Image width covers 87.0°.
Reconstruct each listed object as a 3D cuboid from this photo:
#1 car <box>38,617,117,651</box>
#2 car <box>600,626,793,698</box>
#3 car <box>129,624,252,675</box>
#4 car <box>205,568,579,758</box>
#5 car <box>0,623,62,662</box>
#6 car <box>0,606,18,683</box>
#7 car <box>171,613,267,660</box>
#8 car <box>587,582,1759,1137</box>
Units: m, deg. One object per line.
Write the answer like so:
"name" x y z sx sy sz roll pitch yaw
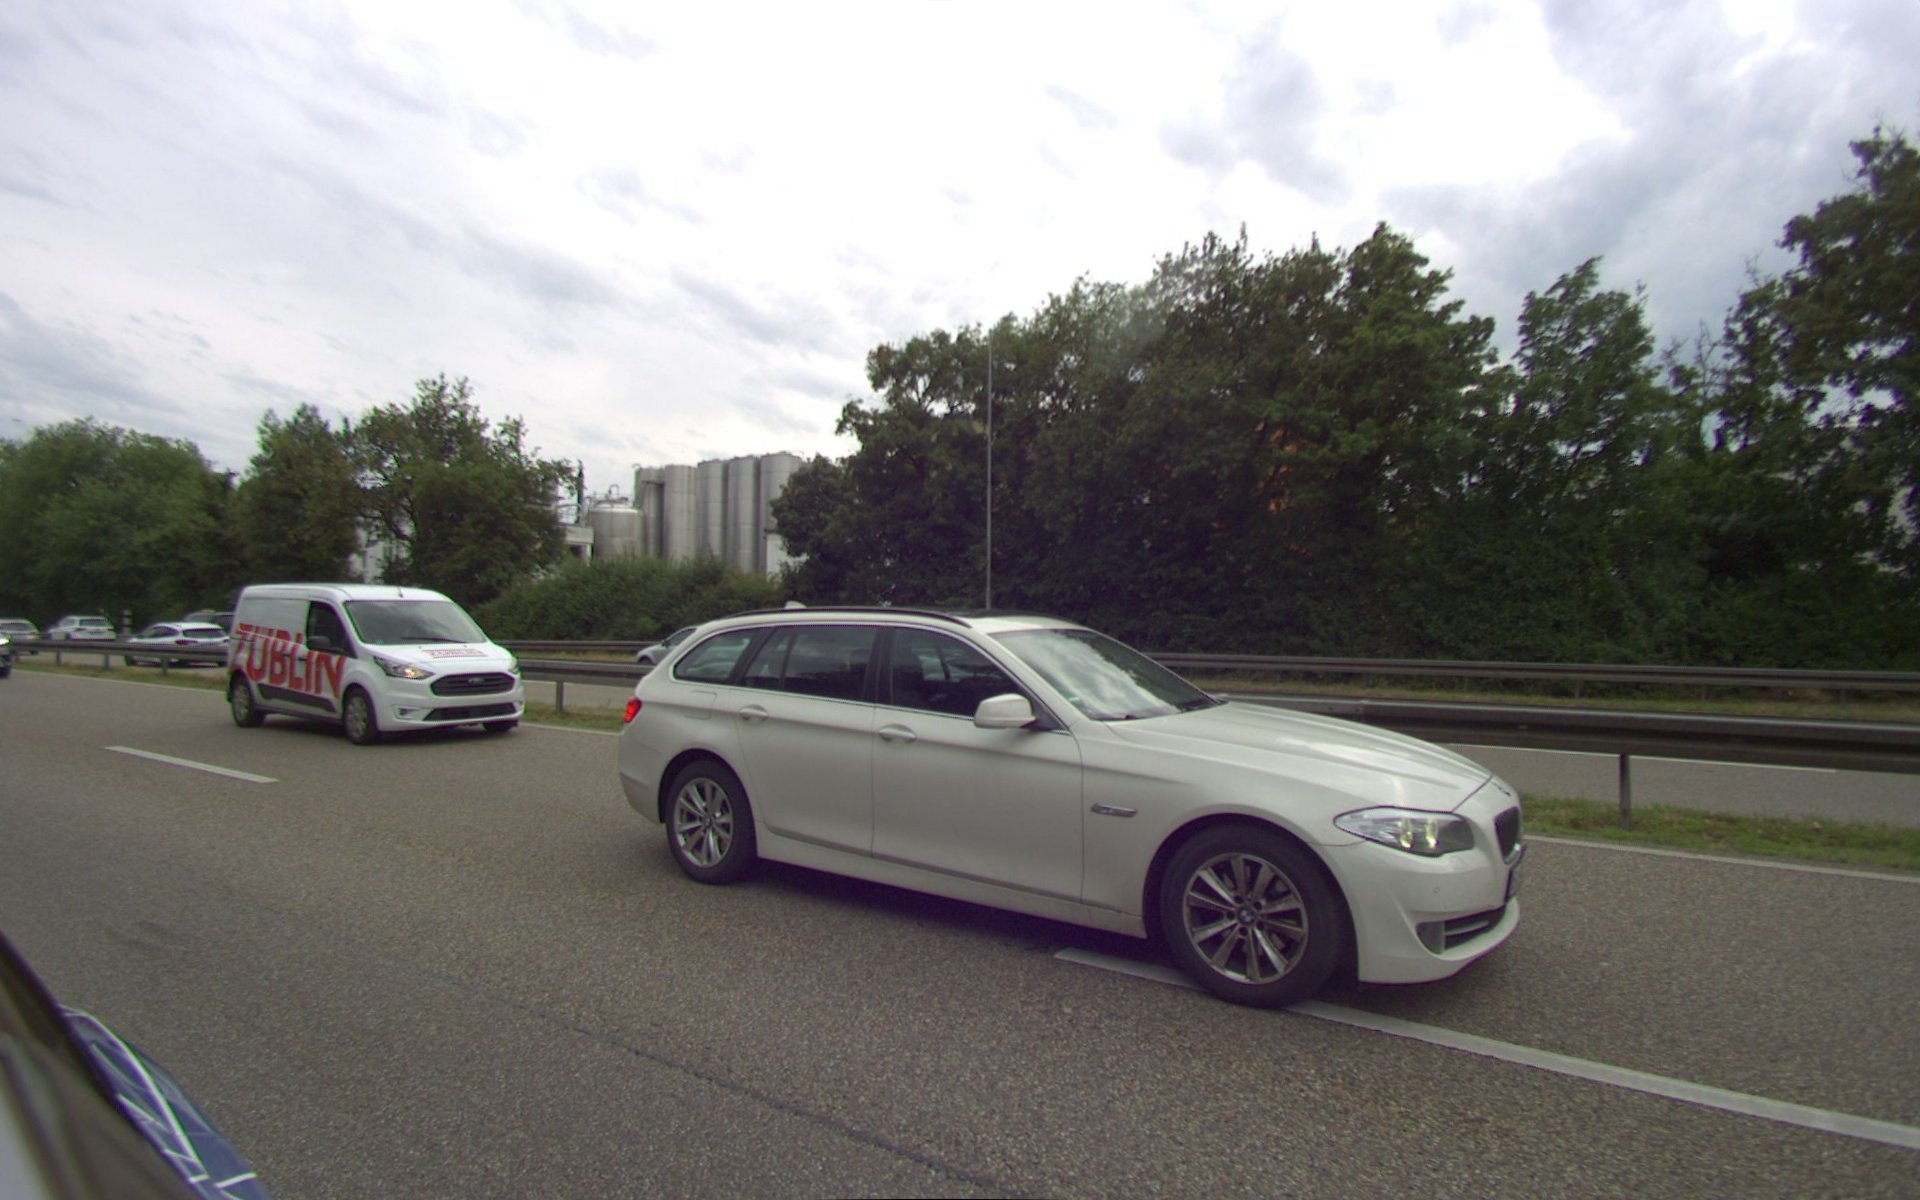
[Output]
"car" -44.985 1.710 51.555 4.747 1.646 1.714 0 0 31
"car" -6.601 1.459 25.070 5.267 1.604 1.679 -1 -2 36
"car" -25.210 1.569 33.122 4.387 1.539 1.845 -1 -2 33
"car" -6.911 0.677 12.111 4.994 1.864 1.831 -1 -2 34
"car" -38.364 1.714 41.375 3.544 1.535 1.455 -1 -2 31
"car" -22.611 0.965 22.394 3.992 1.664 1.827 -1 -2 36
"car" -29.400 1.424 40.114 4.264 1.780 1.562 -1 -2 32
"car" 0.587 0.752 5.089 5.247 1.475 2.040 -1 -2 36
